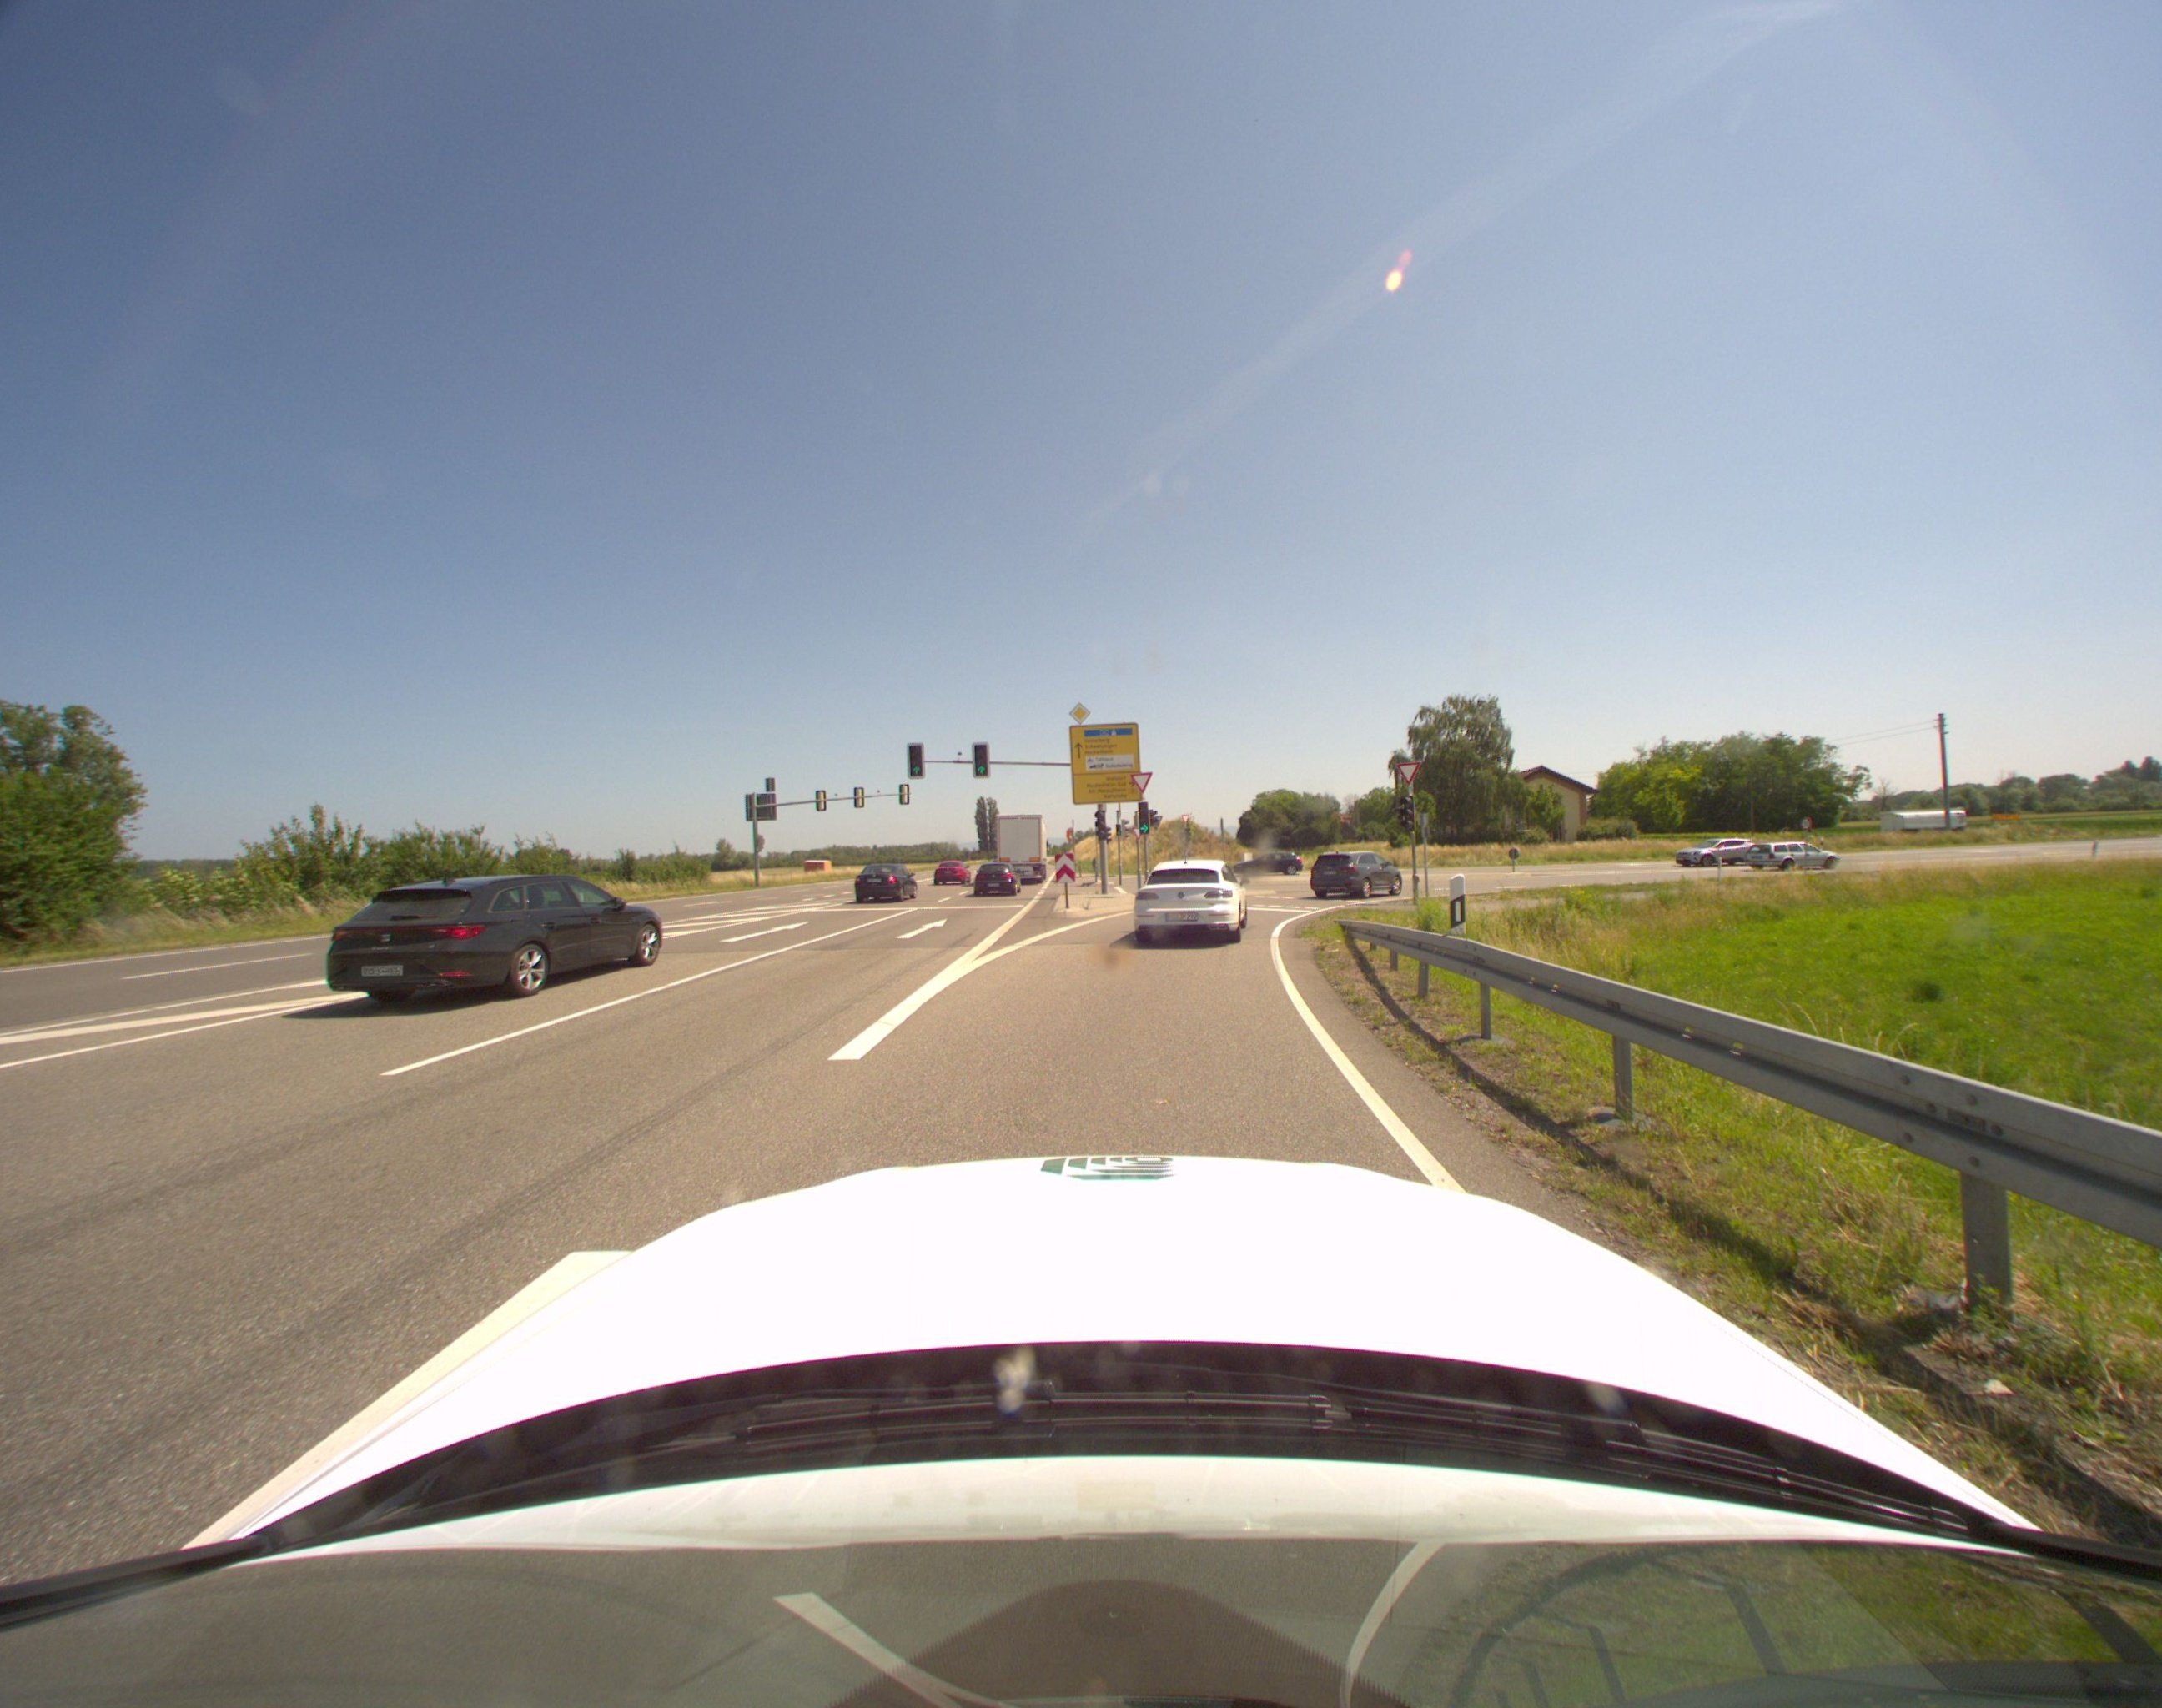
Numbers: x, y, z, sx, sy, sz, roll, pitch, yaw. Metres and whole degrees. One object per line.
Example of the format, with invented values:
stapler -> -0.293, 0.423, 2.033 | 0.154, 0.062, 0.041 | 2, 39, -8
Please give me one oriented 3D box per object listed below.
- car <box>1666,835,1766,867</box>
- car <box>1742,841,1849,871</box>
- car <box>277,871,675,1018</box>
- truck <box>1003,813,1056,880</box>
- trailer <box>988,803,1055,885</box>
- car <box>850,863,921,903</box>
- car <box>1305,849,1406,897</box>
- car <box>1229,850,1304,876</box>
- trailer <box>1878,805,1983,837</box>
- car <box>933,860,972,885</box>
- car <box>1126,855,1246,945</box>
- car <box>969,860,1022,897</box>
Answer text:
car -> 36.275, -0.180, 46.550 | 4.533, 1.543, 1.867 | -3, 1, -8
car -> 36.266, 0.097, 41.389 | 4.073, 1.429, 1.802 | -1, -1, -5
car -> -7.404, 0.981, 10.717 | 1.883, 1.447, 4.524 | -1, -1, -1
truck -> -3.612, -0.505, 58.780 | 3.371, 4.543, 6.369 | -1, 0, -1
trailer -> -3.529, -0.530, 51.925 | 3.371, 4.543, 12.866 | -1, 0, -1
car -> -7.446, 1.065, 31.448 | 1.669, 1.412, 4.465 | -1, -1, -1
car -> 10.142, 0.666, 29.882 | 1.916, 1.616, 4.405 | -2, -1, 42
car -> 11.422, 0.527, 50.326 | 4.242, 1.368, 1.778 | -3, 1, 3
trailer -> 75.831, -2.922, 72.813 | 6.333, 2.455, 2.690 | -3, 1, 4
car -> -7.907, 1.105, 50.432 | 1.744, 1.421, 4.563 | -1, 0, -1
car -> 2.136, 0.770, 15.398 | 1.835, 1.433, 4.623 | -1, -1, 12
car -> -3.599, 0.993, 35.126 | 1.778, 1.431, 4.380 | -1, 0, 0
